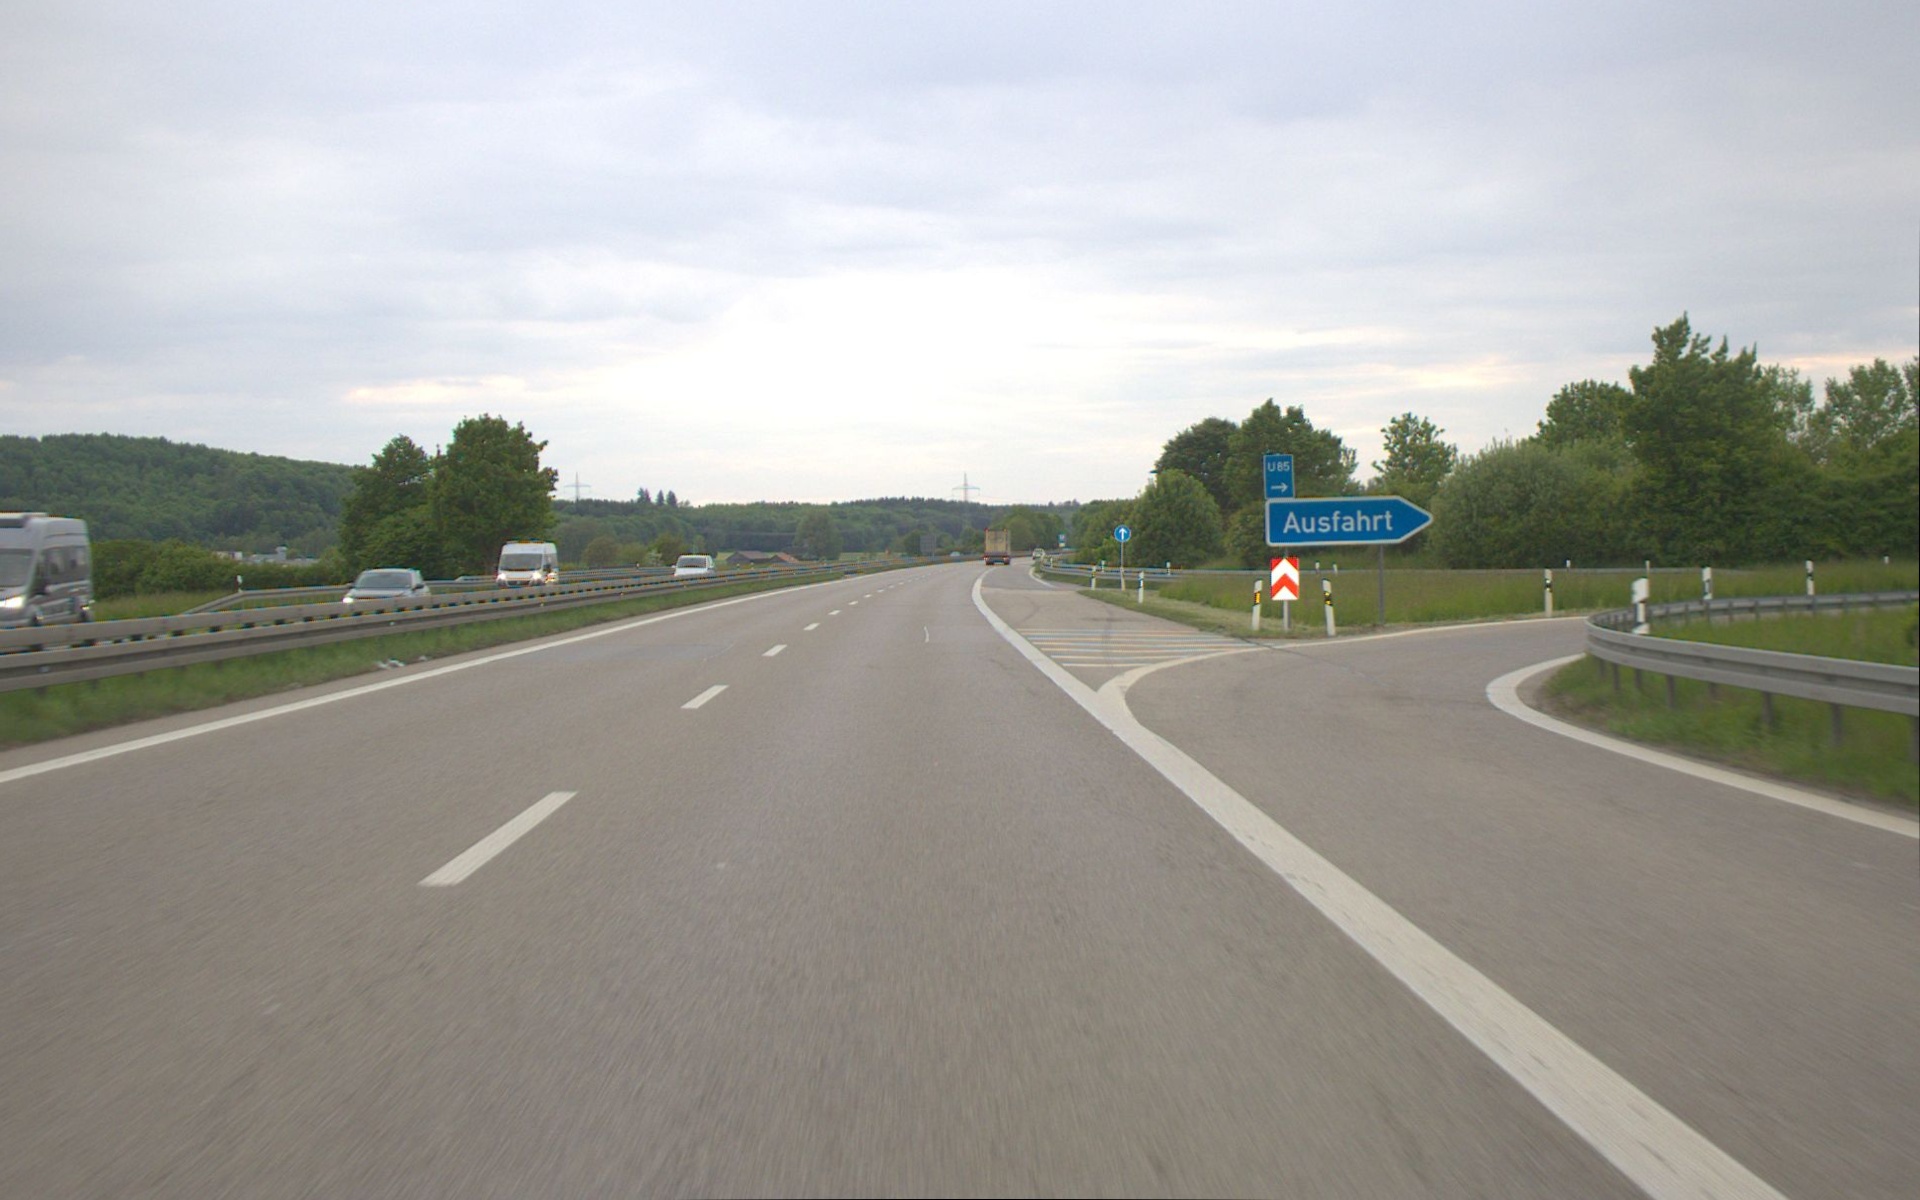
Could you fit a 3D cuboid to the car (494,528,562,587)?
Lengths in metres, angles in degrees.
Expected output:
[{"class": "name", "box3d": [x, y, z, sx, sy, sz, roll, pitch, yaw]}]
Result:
[{"class": "car", "box3d": [-18.686, -1.839, 148.900, 2.145, 2.474, 6.589, 0, 1, 0]}]

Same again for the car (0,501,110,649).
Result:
[{"class": "car", "box3d": [-18.644, -0.520, 67.996, 2.105, 2.791, 6.427, 0, 1, 0]}]

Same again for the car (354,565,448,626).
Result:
[{"class": "car", "box3d": [-14.315, -0.140, 88.259, 1.747, 1.502, 4.200, 0, 1, 0]}]
